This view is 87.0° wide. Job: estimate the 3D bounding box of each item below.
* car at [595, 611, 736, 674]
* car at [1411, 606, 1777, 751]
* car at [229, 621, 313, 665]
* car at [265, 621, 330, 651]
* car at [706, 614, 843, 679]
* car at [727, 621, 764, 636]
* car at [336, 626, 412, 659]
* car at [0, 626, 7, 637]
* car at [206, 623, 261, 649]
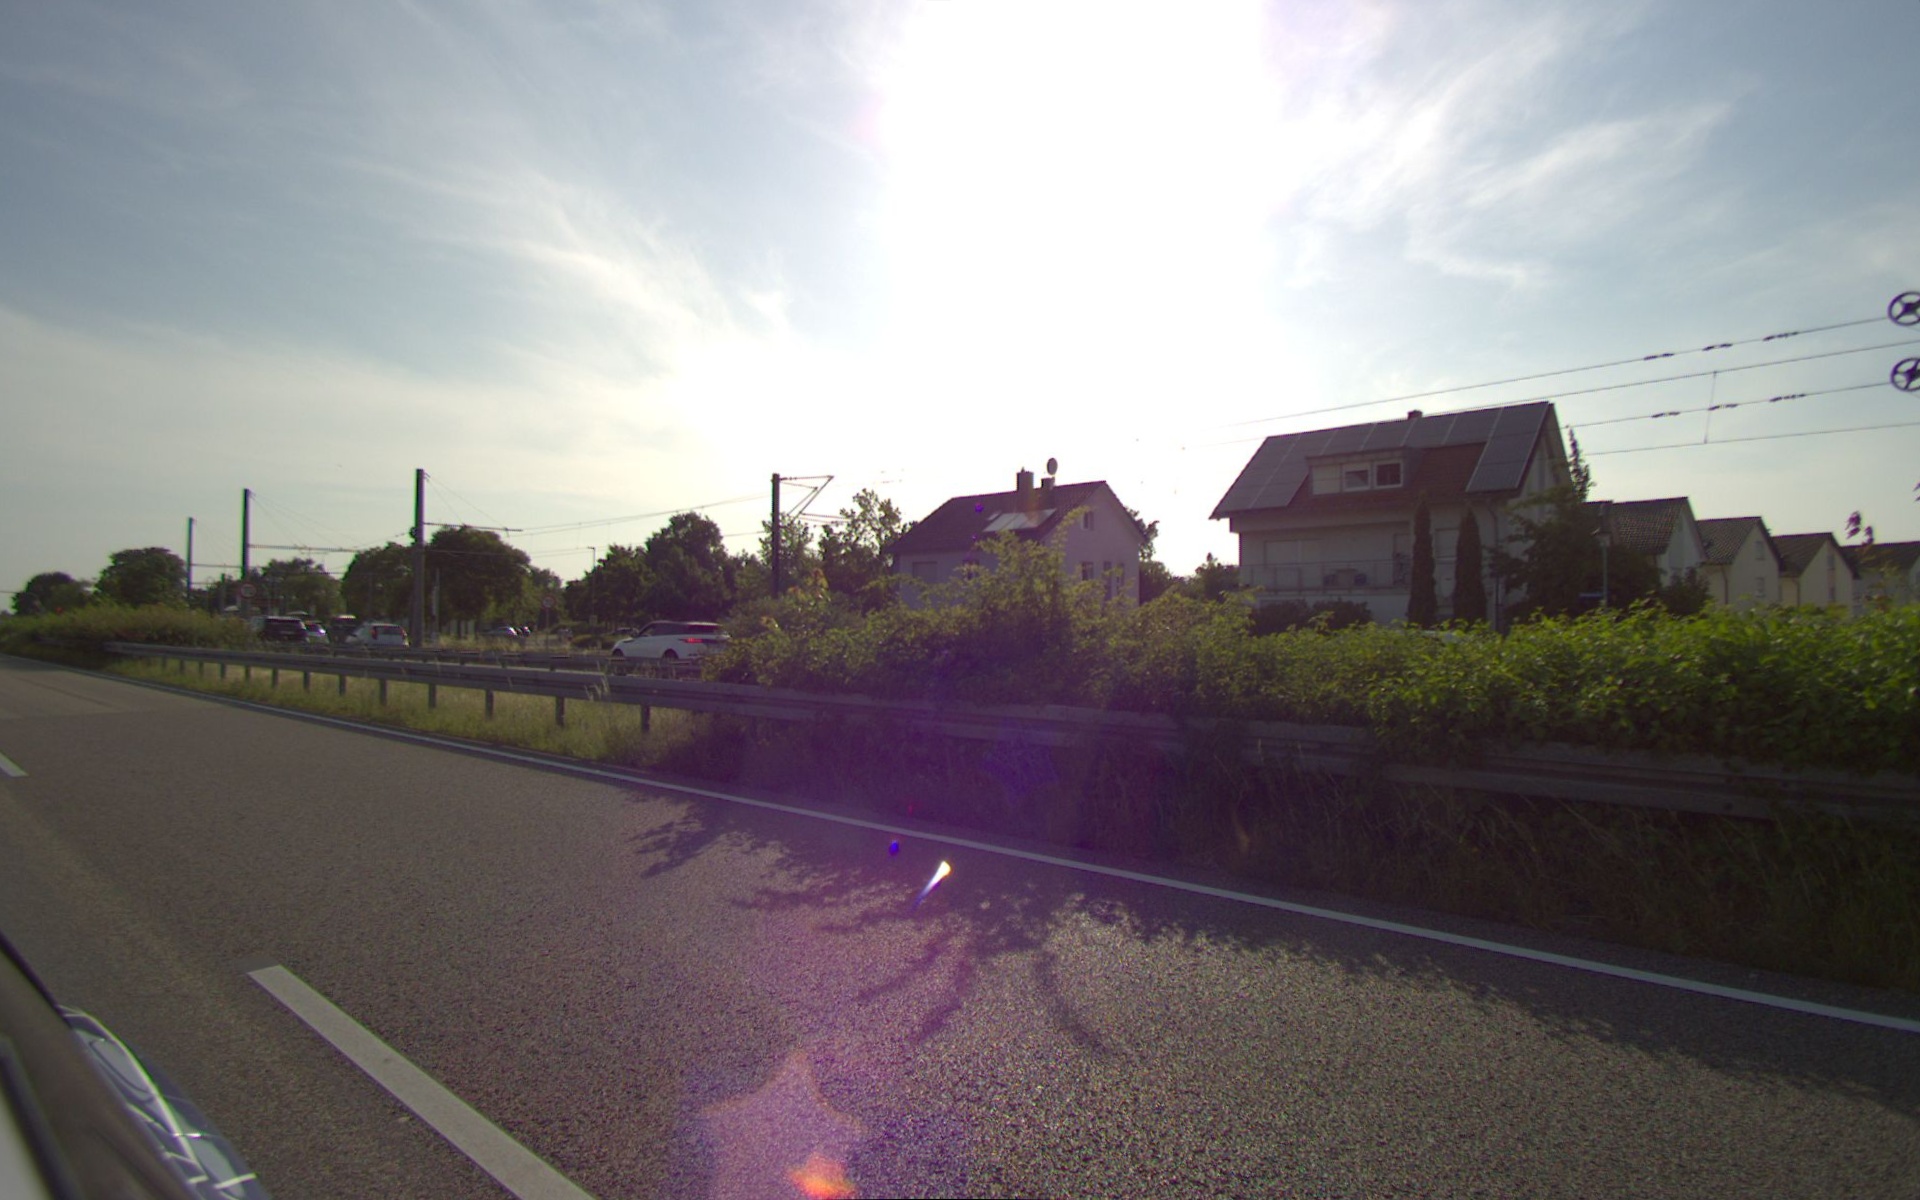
[{"bbox_3d":[-8.384,1.155,28.627,4.444,1.624,1.697,-1,0,41],"label":"car"},{"bbox_3d":[8.298,0.924,13.428,3.880,1.624,1.697,-1,0,41],"label":"car"},{"bbox_3d":[-27.870,1.724,40.875,4.317,1.646,1.711,-1,-4,41],"label":"car"},{"bbox_3d":[-32.648,1.751,49.809,3.620,1.377,1.711,-1,-4,41],"label":"car"},{"bbox_3d":[-5.592,1.351,30.351,3.998,1.763,1.973,-1,0,41],"label":"car"},{"bbox_3d":[-22.119,2.958,104.378,3.562,1.377,1.739,2,-3,-12],"label":"car"},{"bbox_3d":[-25.426,1.831,43.869,3.620,1.377,1.711,-1,-4,41],"label":"car"},{"bbox_3d":[-128.856,4.179,135.233,4.973,1.426,1.643,-1,-4,41],"label":"car"},{"bbox_3d":[-41.674,2.064,58.008,3.620,1.377,1.711,-1,-4,41],"label":"car"}]
